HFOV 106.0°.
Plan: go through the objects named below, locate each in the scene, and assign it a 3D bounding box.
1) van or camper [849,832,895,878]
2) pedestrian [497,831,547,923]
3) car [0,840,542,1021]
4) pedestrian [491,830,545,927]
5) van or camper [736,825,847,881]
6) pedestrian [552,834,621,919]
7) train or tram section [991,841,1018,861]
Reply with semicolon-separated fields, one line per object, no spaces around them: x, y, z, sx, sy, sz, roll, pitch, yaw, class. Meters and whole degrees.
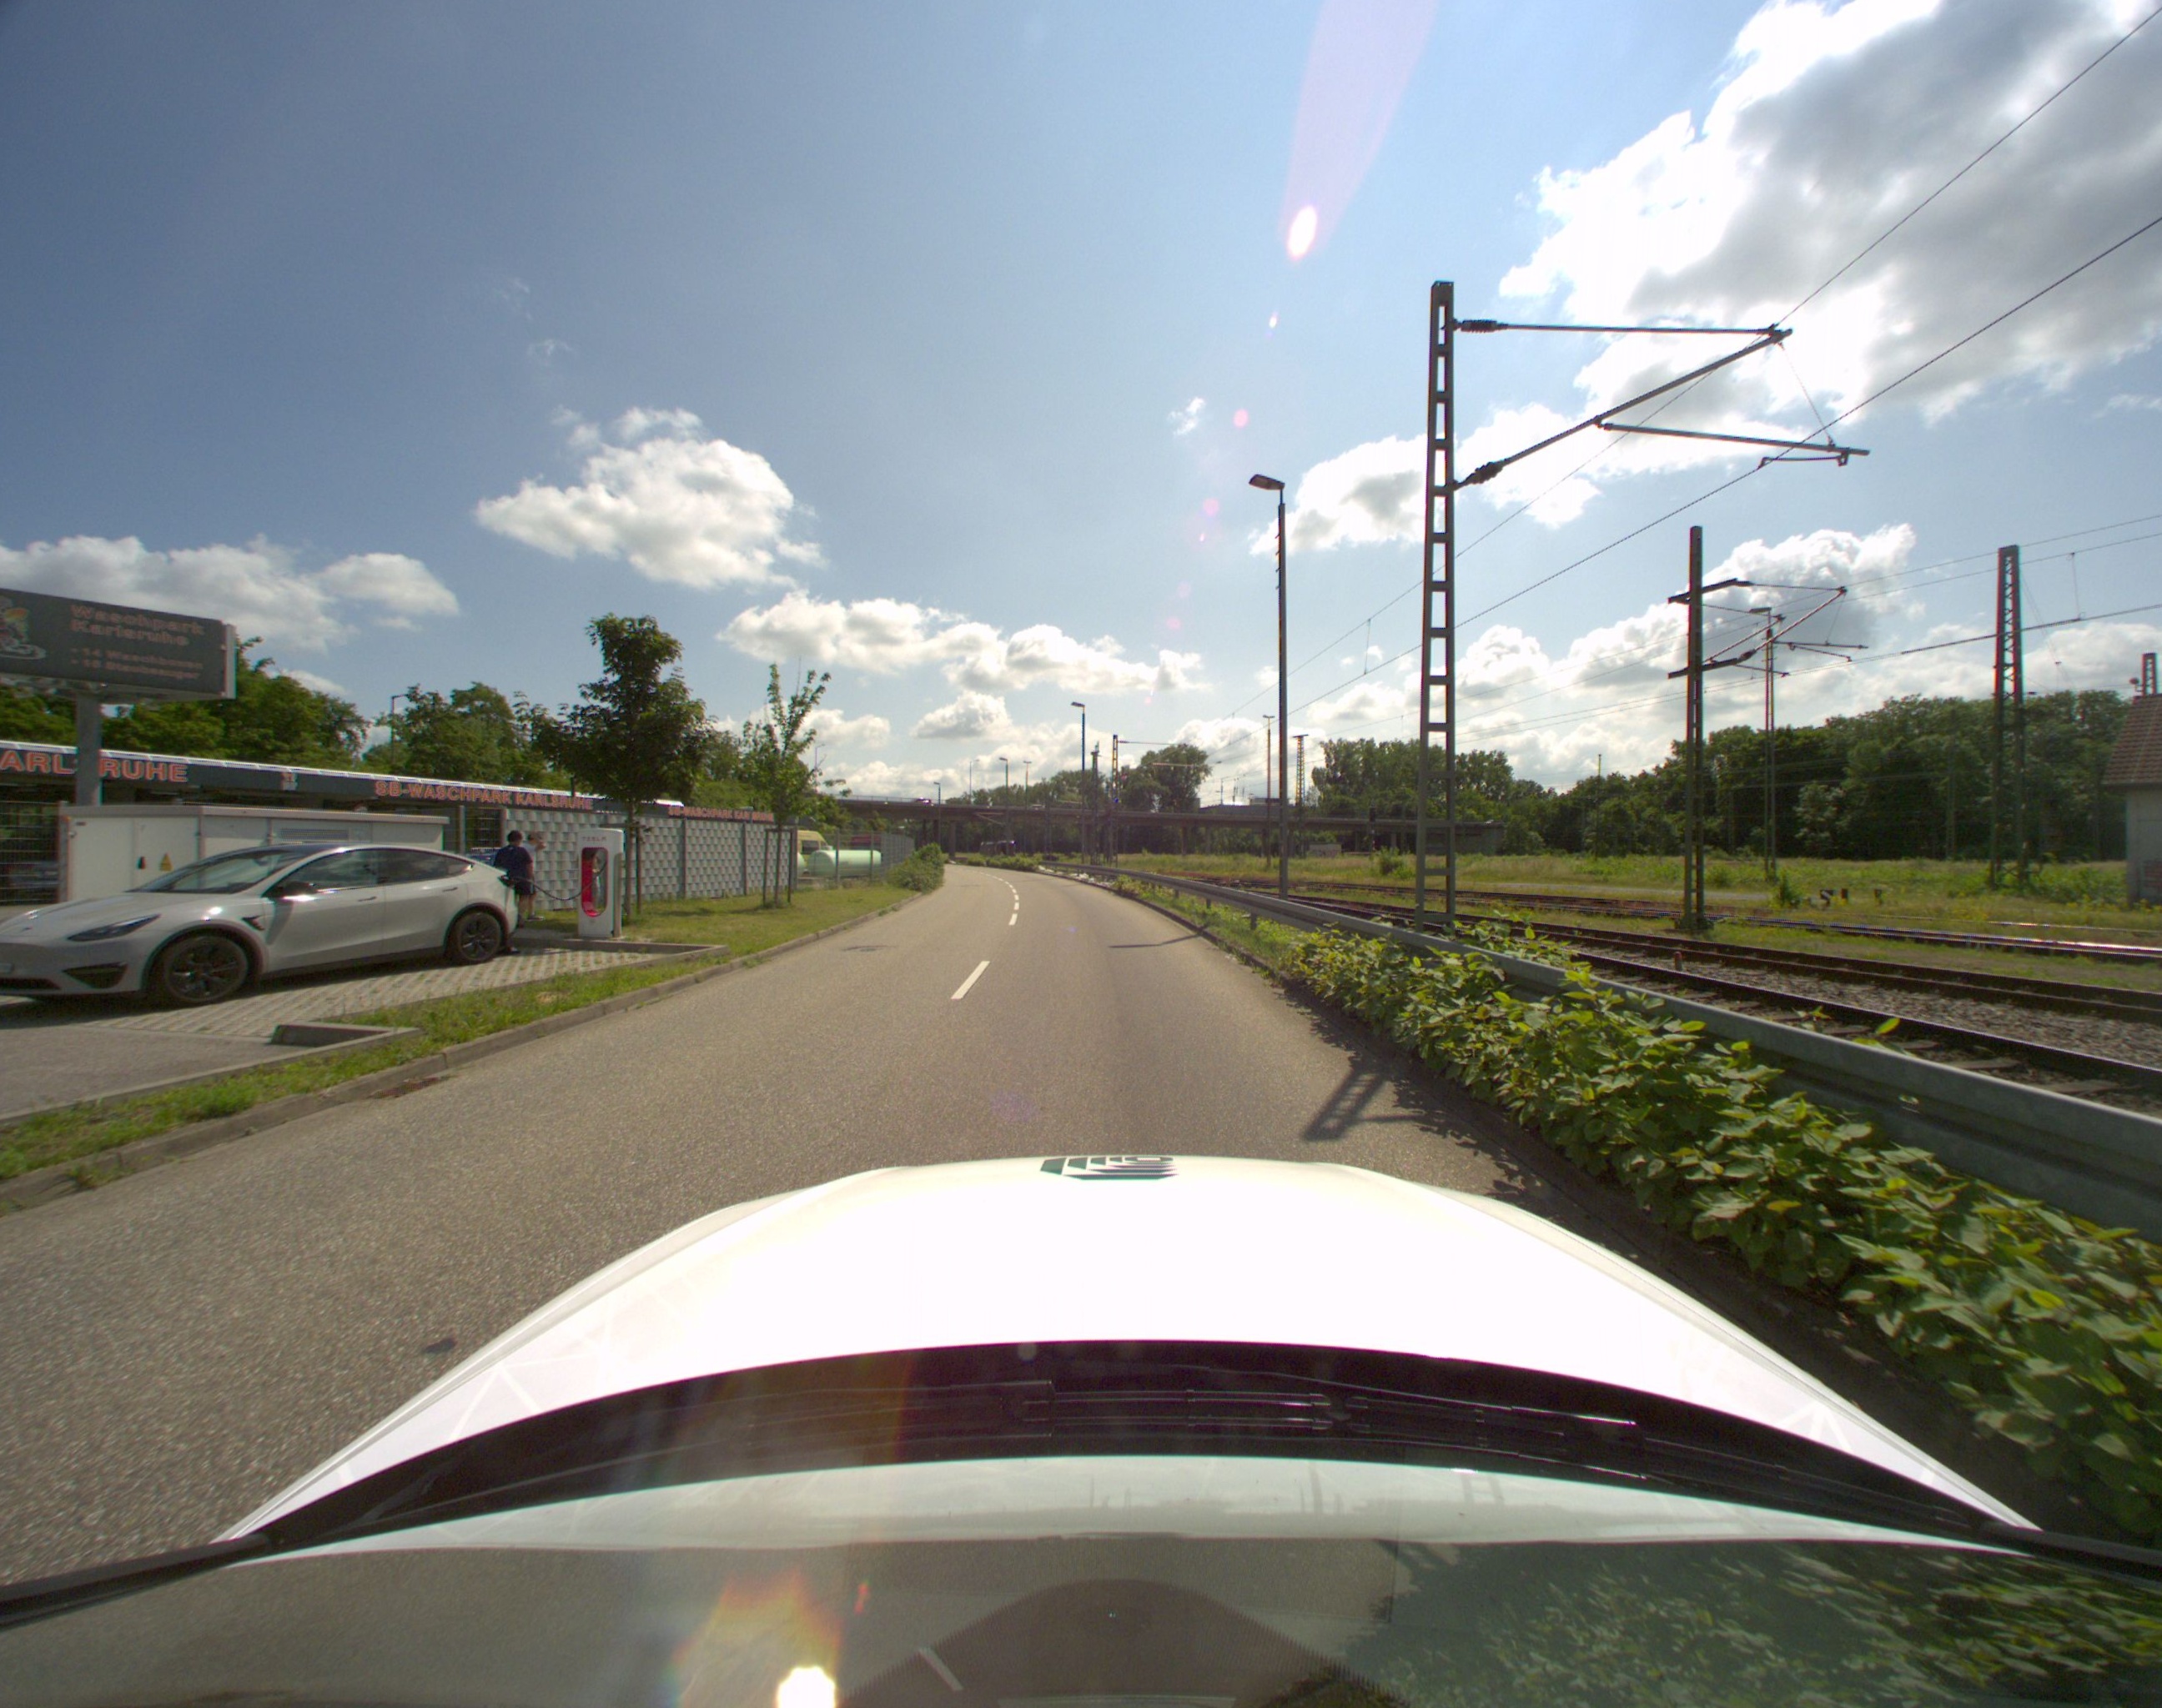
-12.551;0.050;49.225;2.189;2.514;5.681;-2;1;-11;van or camper
-9.839;0.392;14.346;0.716;1.565;0.751;0;-1;-34;pedestrian
-9.222;0.627;9.635;1.918;1.517;4.790;1;2;10;car
-9.458;0.396;13.698;0.725;1.579;0.706;0;-1;-34;pedestrian
-13.492;-0.019;38.414;2.226;2.425;5.679;0;0;13;van or camper
-9.263;0.406;15.269;0.733;1.542;0.818;0;-1;13;pedestrian
-13.951;-0.565;148.275;2.900;3.509;8.506;0;0;-20;train or tram section
